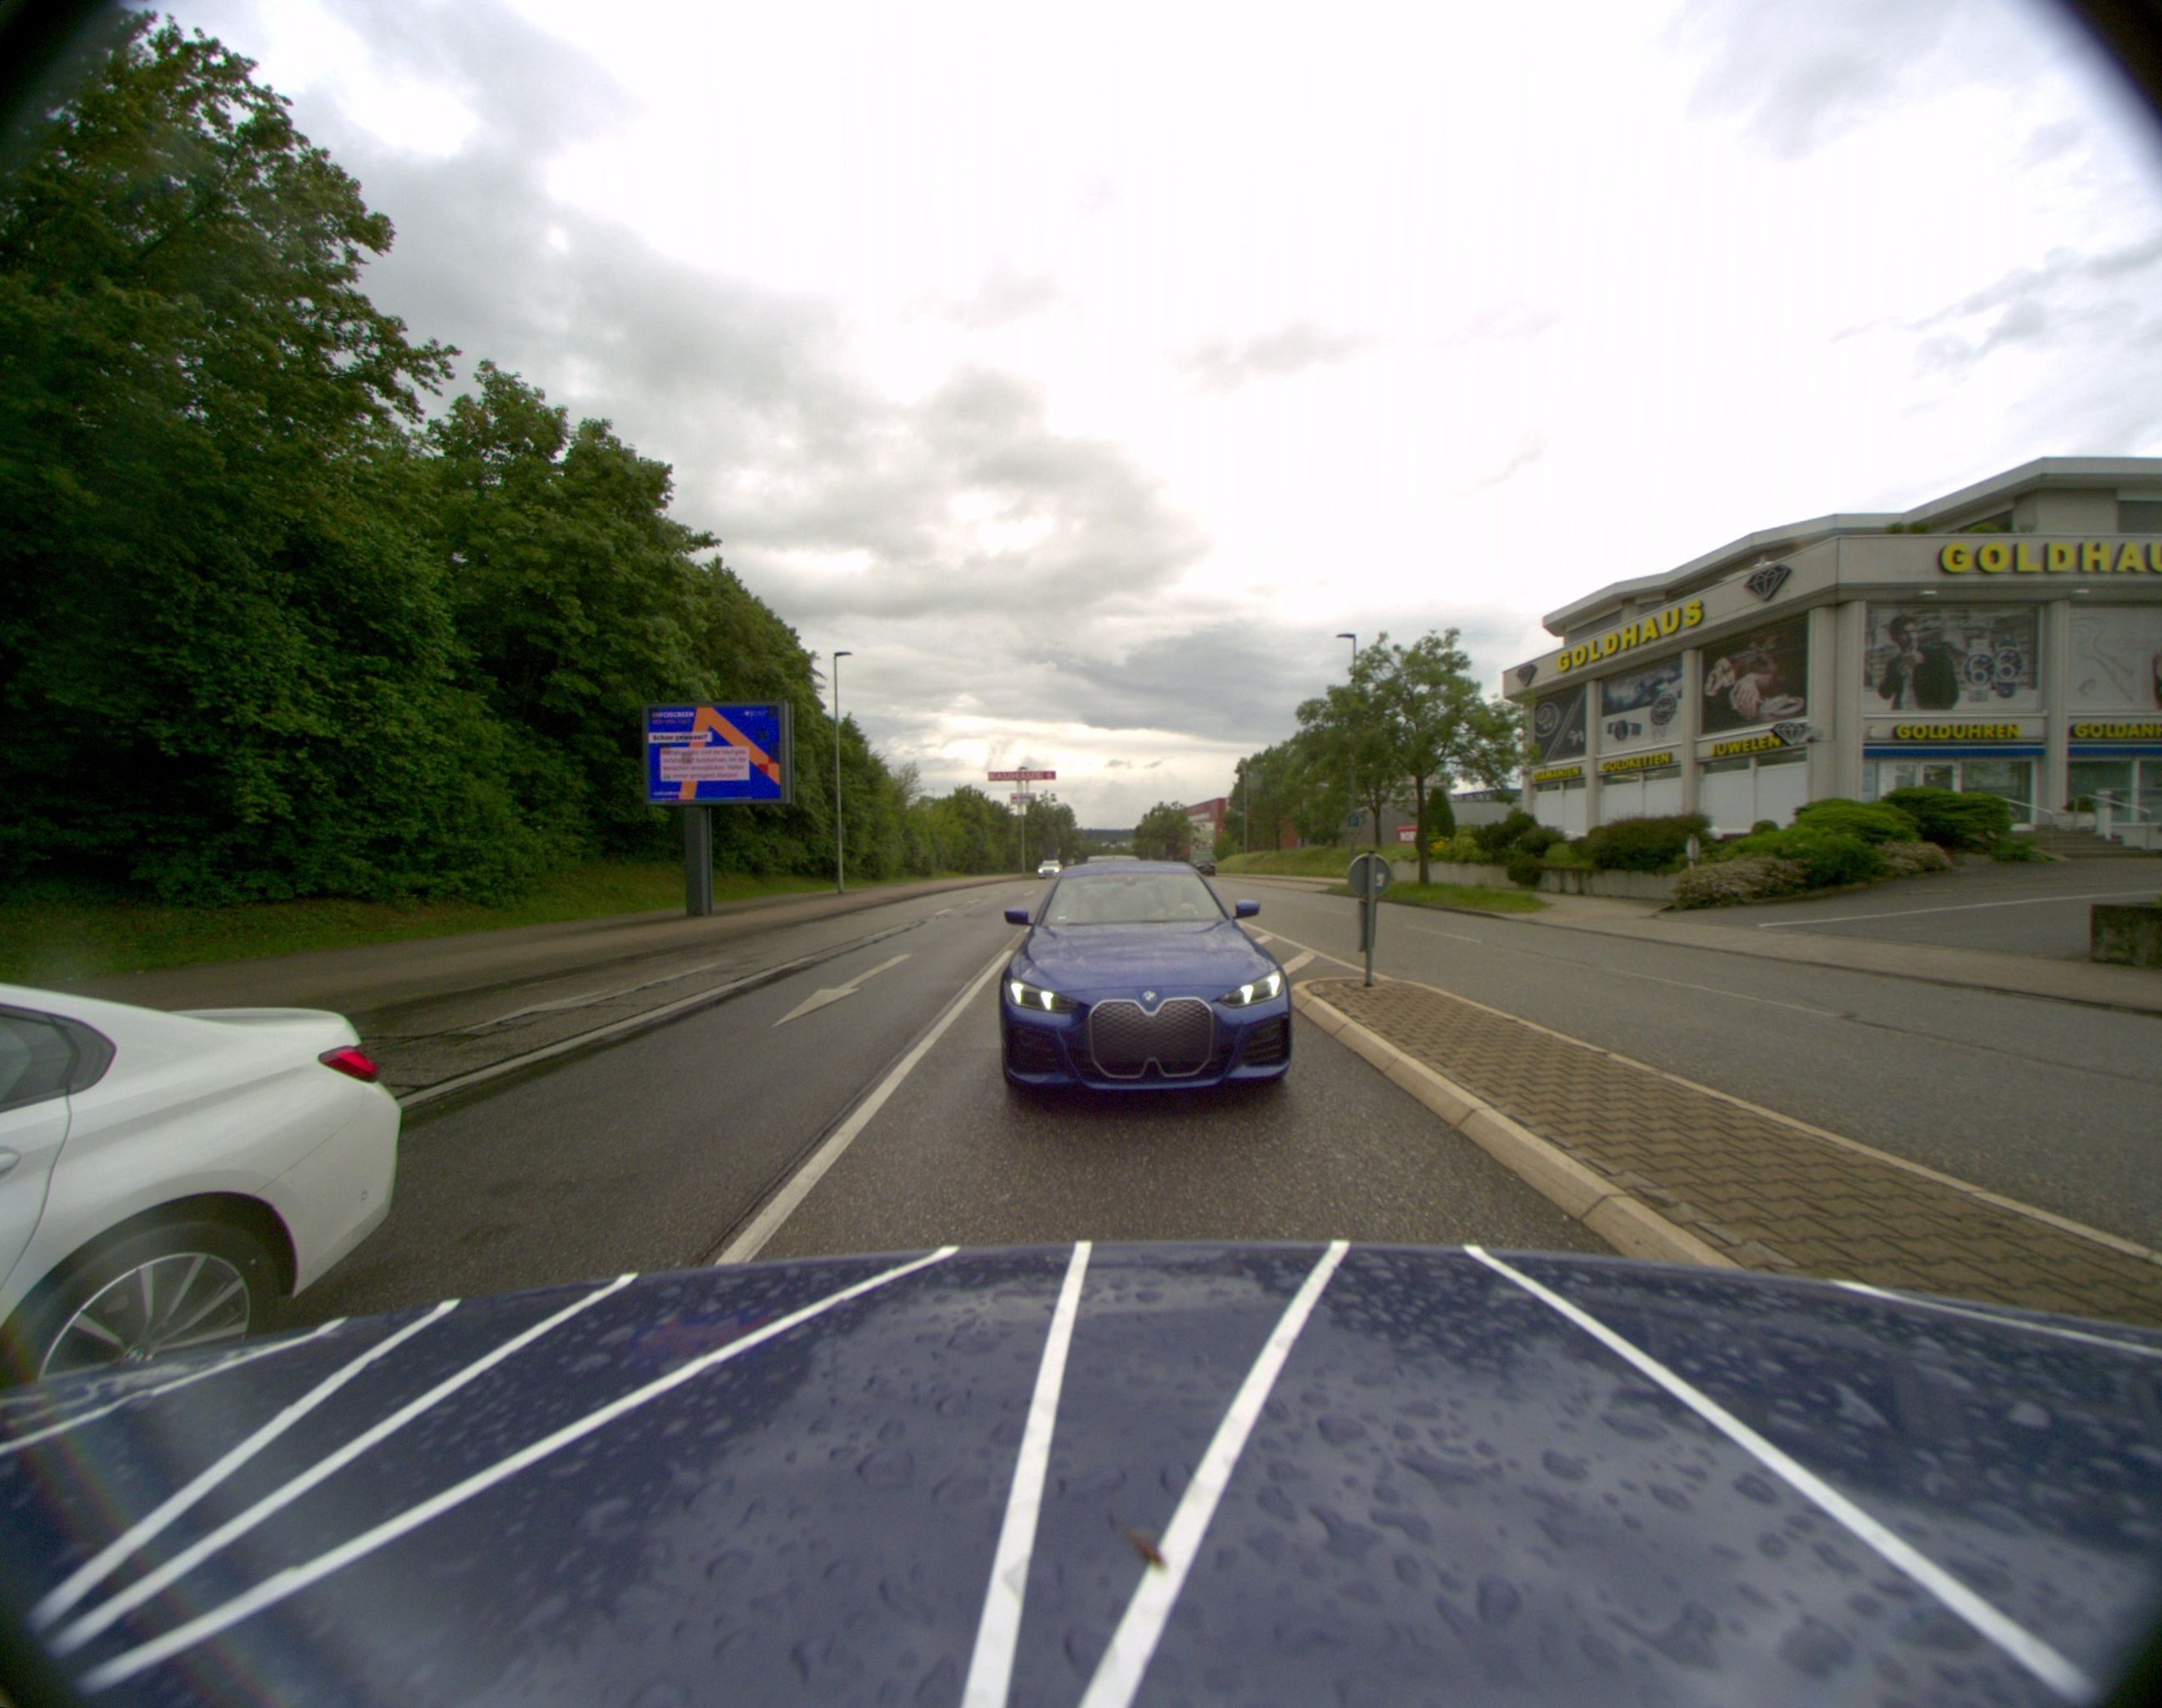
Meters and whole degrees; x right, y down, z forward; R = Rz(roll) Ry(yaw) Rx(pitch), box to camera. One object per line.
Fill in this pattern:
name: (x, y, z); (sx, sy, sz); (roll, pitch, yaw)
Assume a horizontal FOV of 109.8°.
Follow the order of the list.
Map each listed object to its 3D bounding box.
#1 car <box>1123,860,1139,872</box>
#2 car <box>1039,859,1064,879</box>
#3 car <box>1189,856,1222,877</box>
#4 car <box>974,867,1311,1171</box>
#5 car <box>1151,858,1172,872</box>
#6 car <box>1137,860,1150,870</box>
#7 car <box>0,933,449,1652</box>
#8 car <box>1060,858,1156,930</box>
car: (6.921, 1.643, 105.072); (1.998, 1.586, 4.001); (0, -1, 1)
car: (-2.610, 1.315, 68.374); (1.998, 1.717, 4.316); (-1, 0, 1)
car: (11.525, 1.197, 70.414); (2.350, 1.879, 4.545); (0, -1, 1)
car: (0.311, 0.934, 6.421); (1.784, 1.448, 4.596); (-2, 1, -1)
car: (9.313, 1.251, 88.328); (1.998, 1.586, 4.001); (0, -1, 1)
car: (10.821, 1.930, 130.992); (1.998, 1.586, 4.001); (0, -1, 1)
car: (-3.286, 1.087, 0.515); (1.784, 1.448, 4.678); (-2, 1, -1)
car: (0.670, 0.860, 18.328); (1.998, 1.455, 4.368); (-2, 0, 2)
